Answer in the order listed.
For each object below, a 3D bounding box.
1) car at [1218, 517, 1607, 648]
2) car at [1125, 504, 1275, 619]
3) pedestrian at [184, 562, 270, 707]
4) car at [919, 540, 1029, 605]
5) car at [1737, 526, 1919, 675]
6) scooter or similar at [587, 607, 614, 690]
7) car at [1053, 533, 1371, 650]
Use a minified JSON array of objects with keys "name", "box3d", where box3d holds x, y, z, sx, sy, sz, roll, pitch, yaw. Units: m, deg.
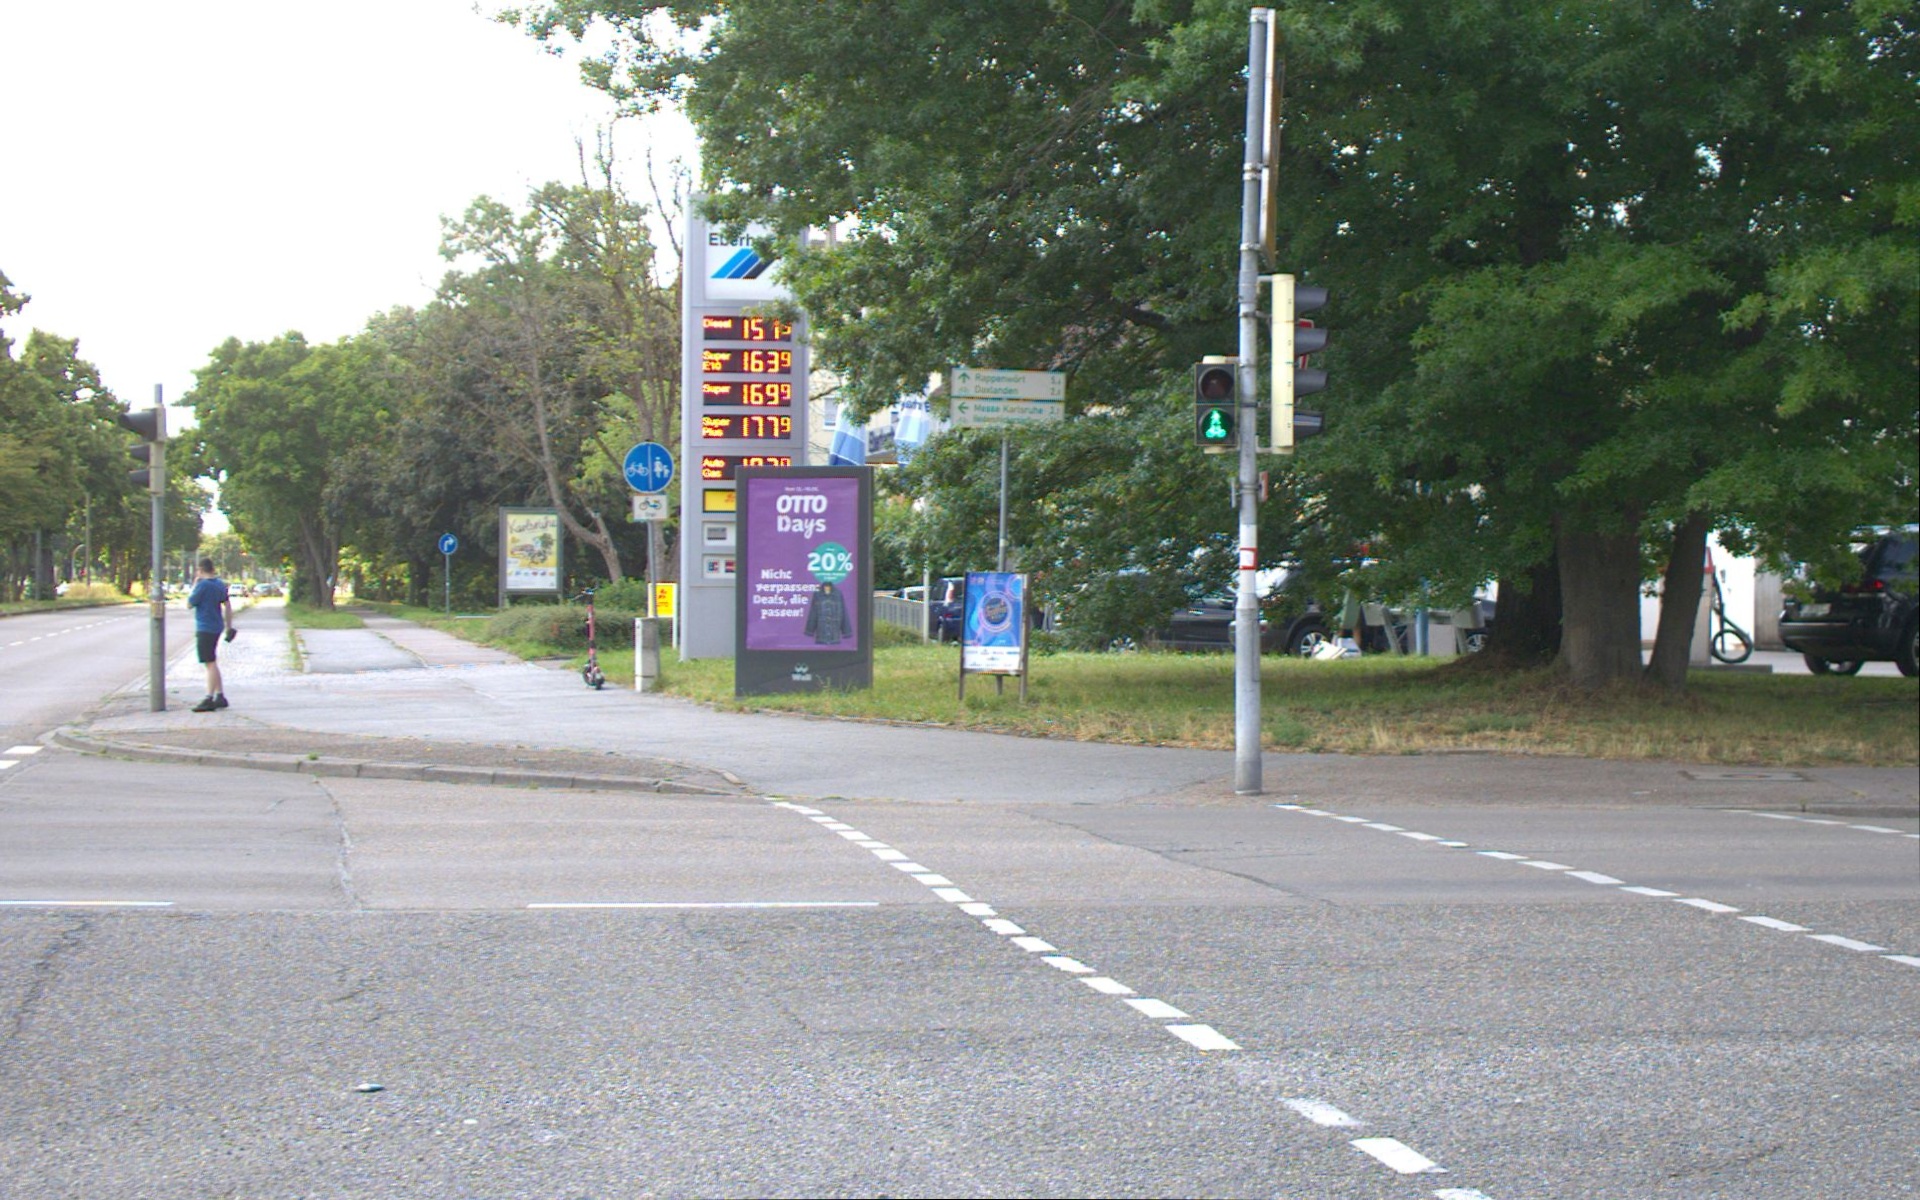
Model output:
[{"name":"car","box3d":[6.555,-0.248,49.841,5.179,1.820,2.154,0,0,-21]},{"name":"car","box3d":[5.258,-0.839,76.225,1.749,2.445,5.752,0,0,-12]},{"name":"pedestrian","box3d":[-7.831,0.362,36.707,0.725,1.526,0.760,0,0,-27]},{"name":"car","box3d":[0.294,-0.625,78.960,1.749,1.449,3.742,0,0,-12]},{"name":"car","box3d":[11.219,0.001,38.330,4.548,1.590,2.154,0,0,-21]},{"name":"scooter or similar","box3d":[-4.353,0.579,41.564,0.220,0.976,1.273,0,0,-11]},{"name":"car","box3d":[4.429,-0.147,60.697,5.179,1.997,2.154,0,0,-14]}]
